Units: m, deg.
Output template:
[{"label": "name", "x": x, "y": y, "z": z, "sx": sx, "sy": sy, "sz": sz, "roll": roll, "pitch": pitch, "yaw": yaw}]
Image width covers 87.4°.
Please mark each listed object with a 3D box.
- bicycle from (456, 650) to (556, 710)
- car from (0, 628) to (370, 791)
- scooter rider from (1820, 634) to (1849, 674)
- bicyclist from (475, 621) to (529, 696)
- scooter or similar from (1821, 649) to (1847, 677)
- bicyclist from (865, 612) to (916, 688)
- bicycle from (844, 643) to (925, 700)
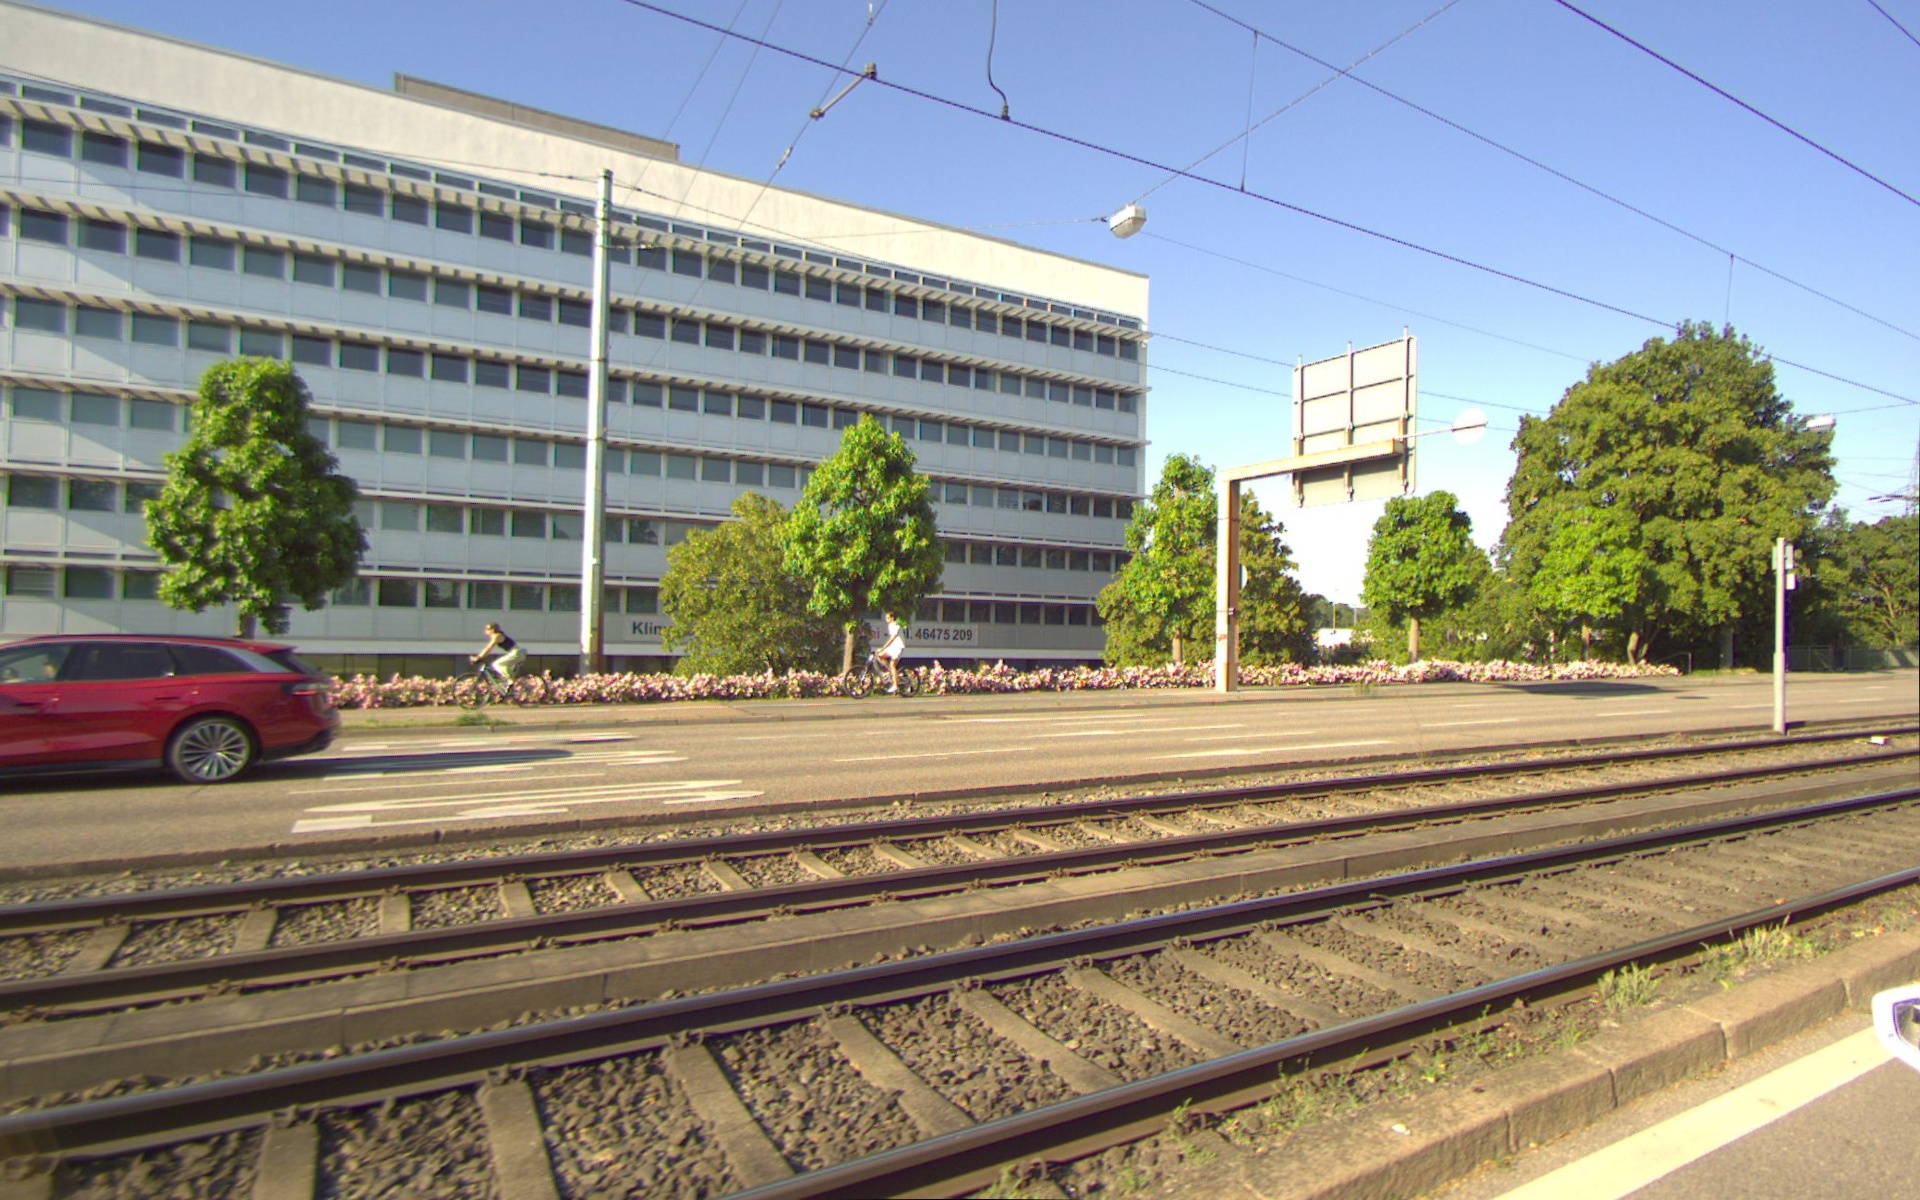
[{"label": "bicycle", "x": -8.743, "y": 1.526, "z": 19.365, "sx": 1.683, "sy": 1.073, "sz": 0.621, "roll": 1, "pitch": 0, "yaw": -31}, {"label": "car", "x": -9.125, "y": 1.089, "z": 10.697, "sx": 4.831, "sy": 1.523, "sz": 2.030, "roll": 2, "pitch": -2, "yaw": -31}, {"label": "scooter rider", "x": 41.408, "y": 2.571, "z": 47.558, "sx": 0.986, "sy": 1.873, "sz": 0.681, "roll": 1, "pitch": -2, "yaw": -23}, {"label": "bicyclist", "x": -8.805, "y": 1.109, "z": 19.324, "sx": 0.870, "sy": 1.392, "sz": 0.622, "roll": 1, "pitch": 0, "yaw": -30}, {"label": "scooter or similar", "x": 41.389, "y": 2.979, "z": 47.565, "sx": 1.245, "sy": 1.313, "sz": 0.470, "roll": 2, "pitch": -2, "yaw": -24}, {"label": "bicyclist", "x": -1.590, "y": 1.141, "z": 22.966, "sx": 0.951, "sy": 1.681, "sz": 0.600, "roll": 1, "pitch": 1, "yaw": -28}, {"label": "bicycle", "x": -1.714, "y": 1.608, "z": 22.916, "sx": 1.726, "sy": 1.235, "sz": 0.600, "roll": 1, "pitch": 1, "yaw": -28}]
